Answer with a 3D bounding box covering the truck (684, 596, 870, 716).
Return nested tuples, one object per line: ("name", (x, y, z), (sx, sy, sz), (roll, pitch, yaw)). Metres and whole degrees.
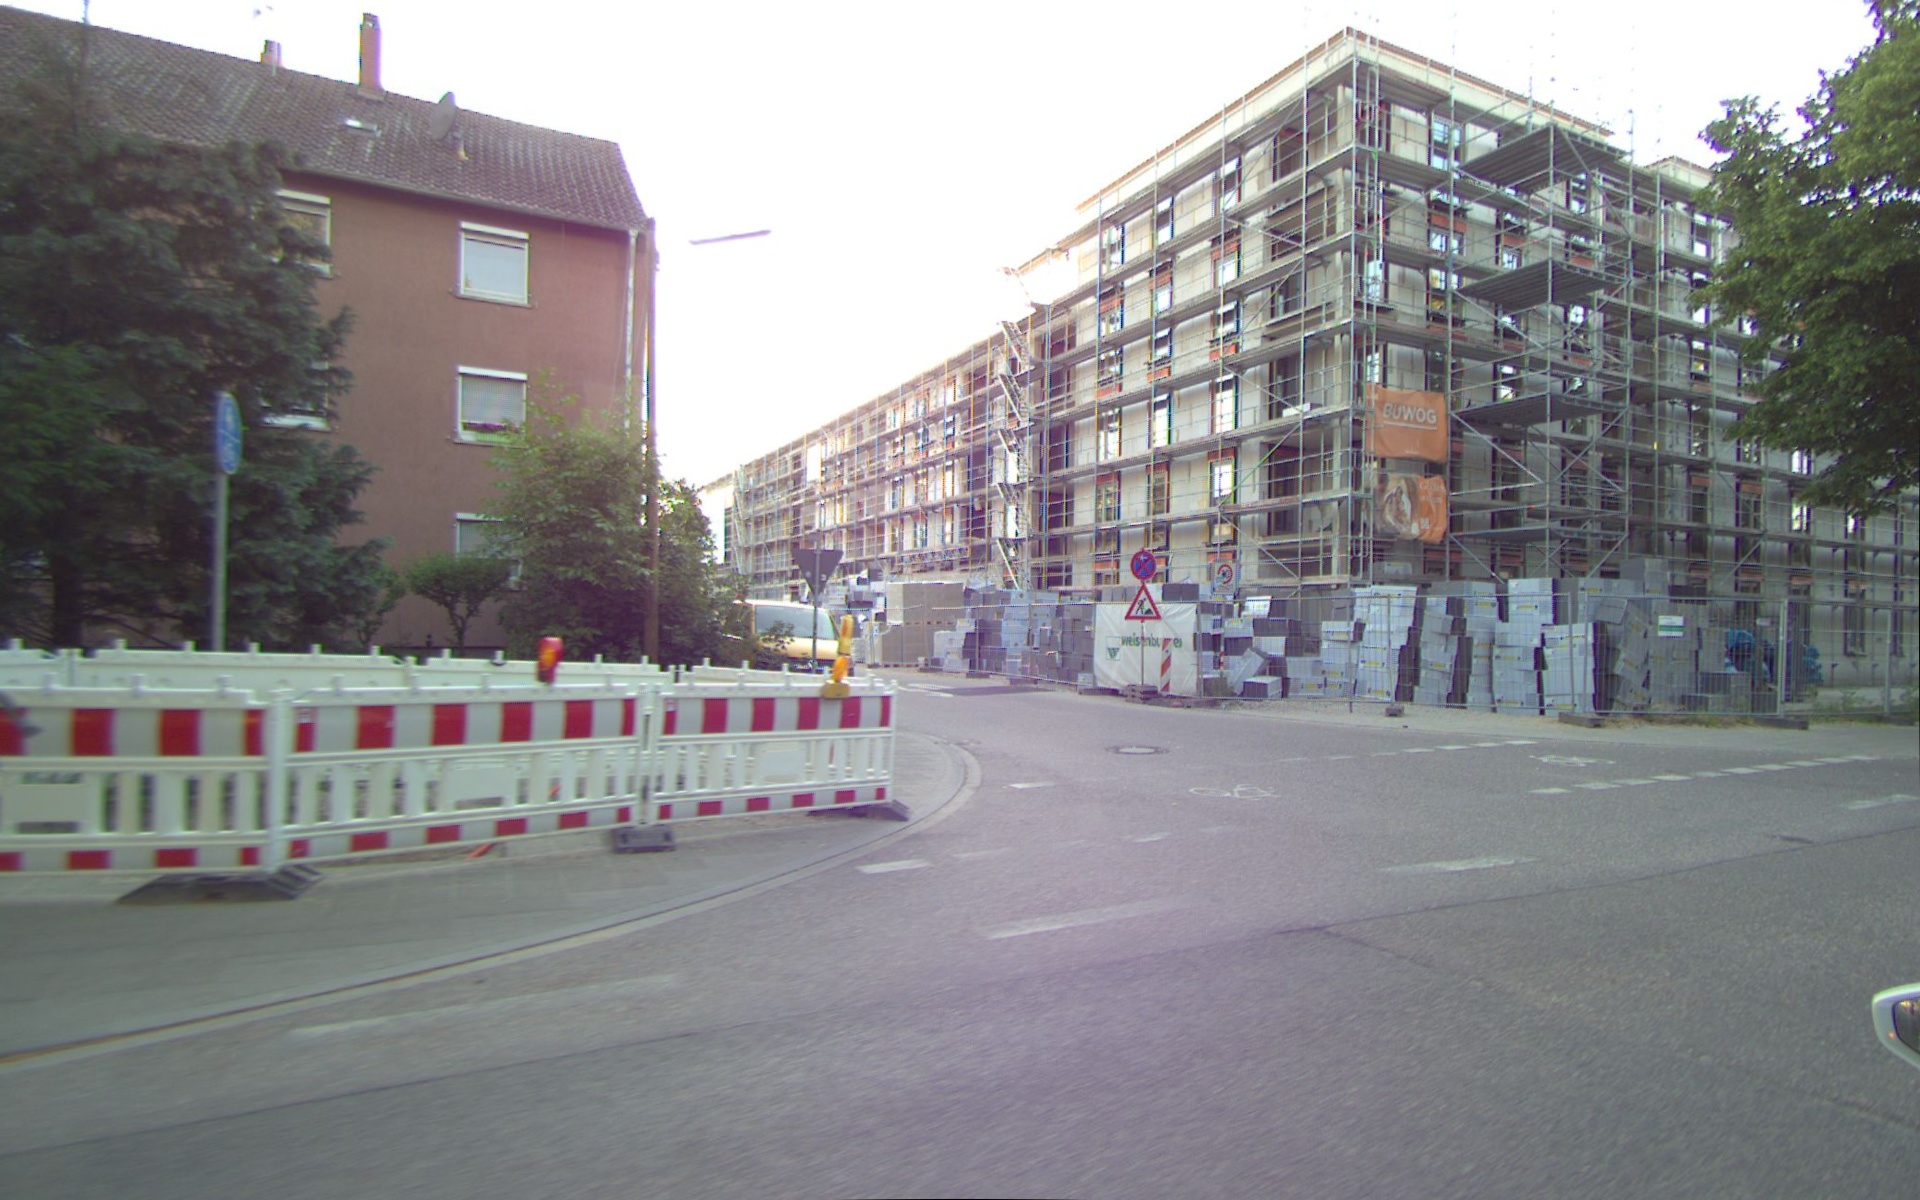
("truck", (-3.696, 1.013, 19.257), (2.014, 1.938, 5.624), (3, -2, -26))
